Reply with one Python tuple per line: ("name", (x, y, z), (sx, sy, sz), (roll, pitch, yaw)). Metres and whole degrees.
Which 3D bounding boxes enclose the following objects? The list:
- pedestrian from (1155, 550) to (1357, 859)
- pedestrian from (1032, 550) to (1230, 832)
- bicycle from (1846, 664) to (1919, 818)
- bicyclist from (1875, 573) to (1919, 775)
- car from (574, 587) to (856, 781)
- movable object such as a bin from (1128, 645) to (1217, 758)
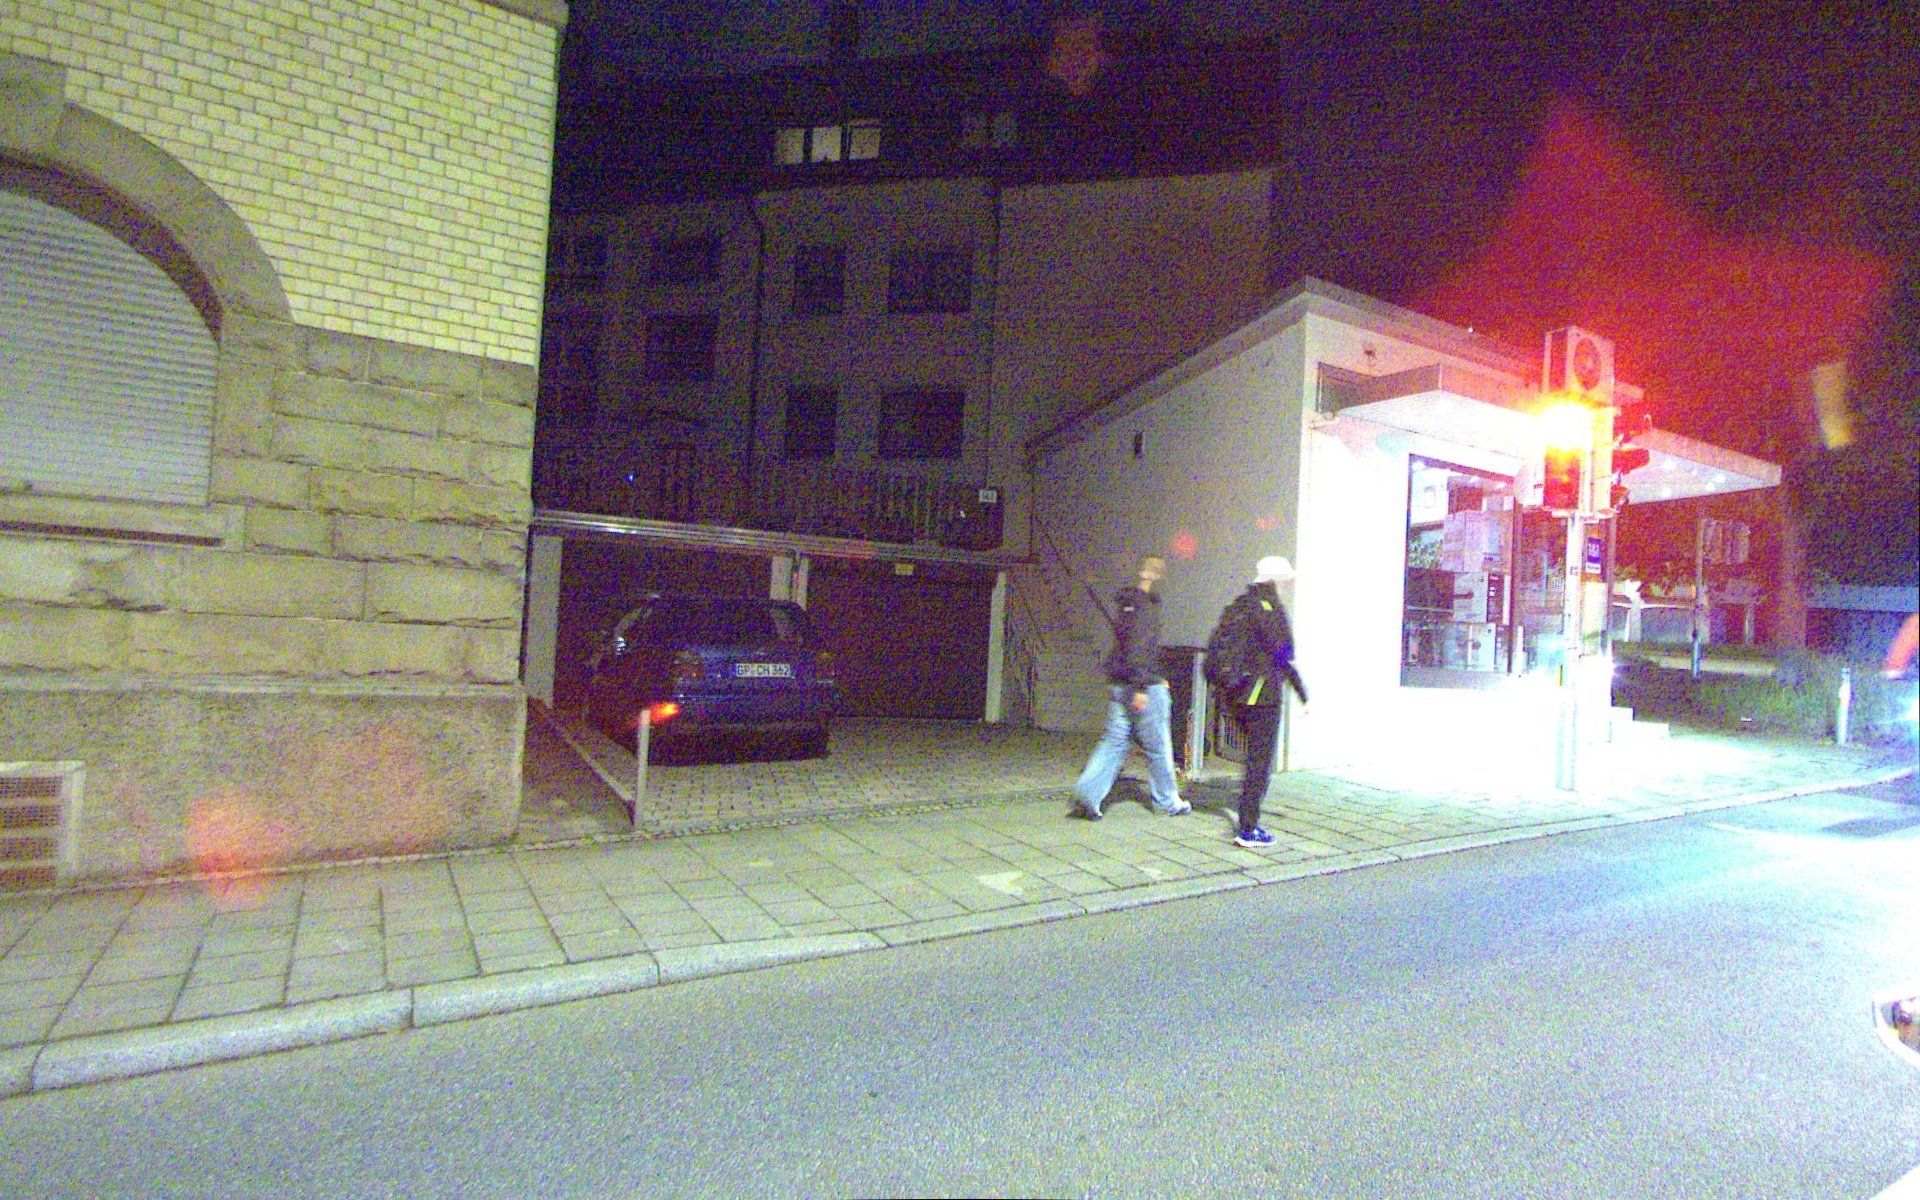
("pedestrian", (1.853, 0.610, 6.301), (1.017, 1.768, 0.672), (2, 0, -31))
("pedestrian", (1.172, 0.585, 6.891), (1.091, 1.768, 0.738), (2, 0, -31))
("bicycle", (8.258, 1.142, 8.398), (1.928, 1.164, 0.693), (2, 0, -30))
("bicyclist", (8.308, 0.624, 8.418), (0.886, 1.659, 0.687), (2, 0, -30))
("car", (-2.459, 0.650, 9.499), (1.655, 1.470, 3.341), (2, -1, -31))
("movable object such as a bin", (2.110, 0.997, 10.029), (0.643, 1.063, 0.639), (2, 0, -12))
